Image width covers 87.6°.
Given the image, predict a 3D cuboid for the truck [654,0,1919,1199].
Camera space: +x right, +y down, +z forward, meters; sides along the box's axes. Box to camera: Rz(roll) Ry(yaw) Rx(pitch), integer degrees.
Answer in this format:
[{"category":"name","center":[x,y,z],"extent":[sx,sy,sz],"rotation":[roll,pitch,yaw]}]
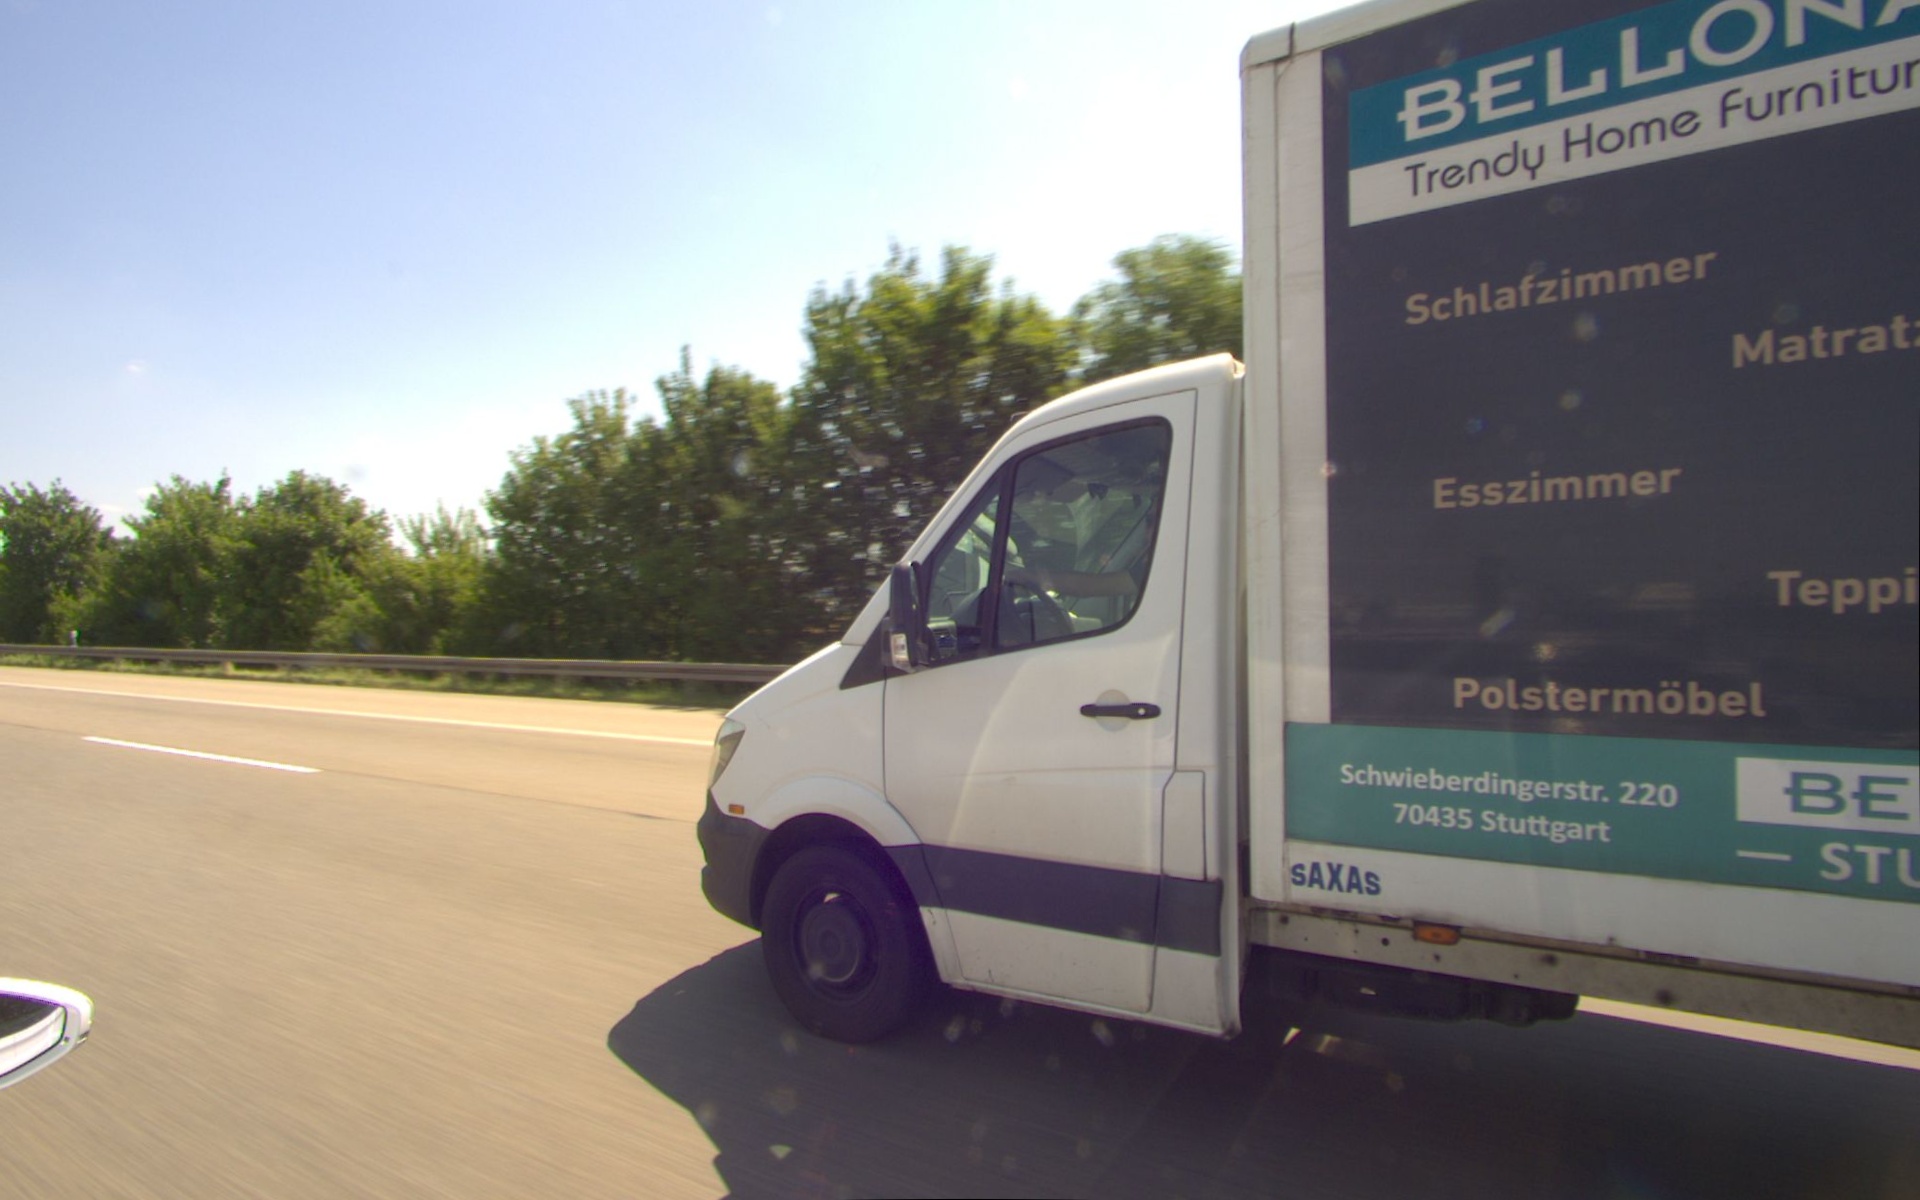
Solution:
[{"category":"truck","center":[2.289,-0.024,2.942],"extent":[6.654,3.107,2.317],"rotation":[-1,-1,32]}]
